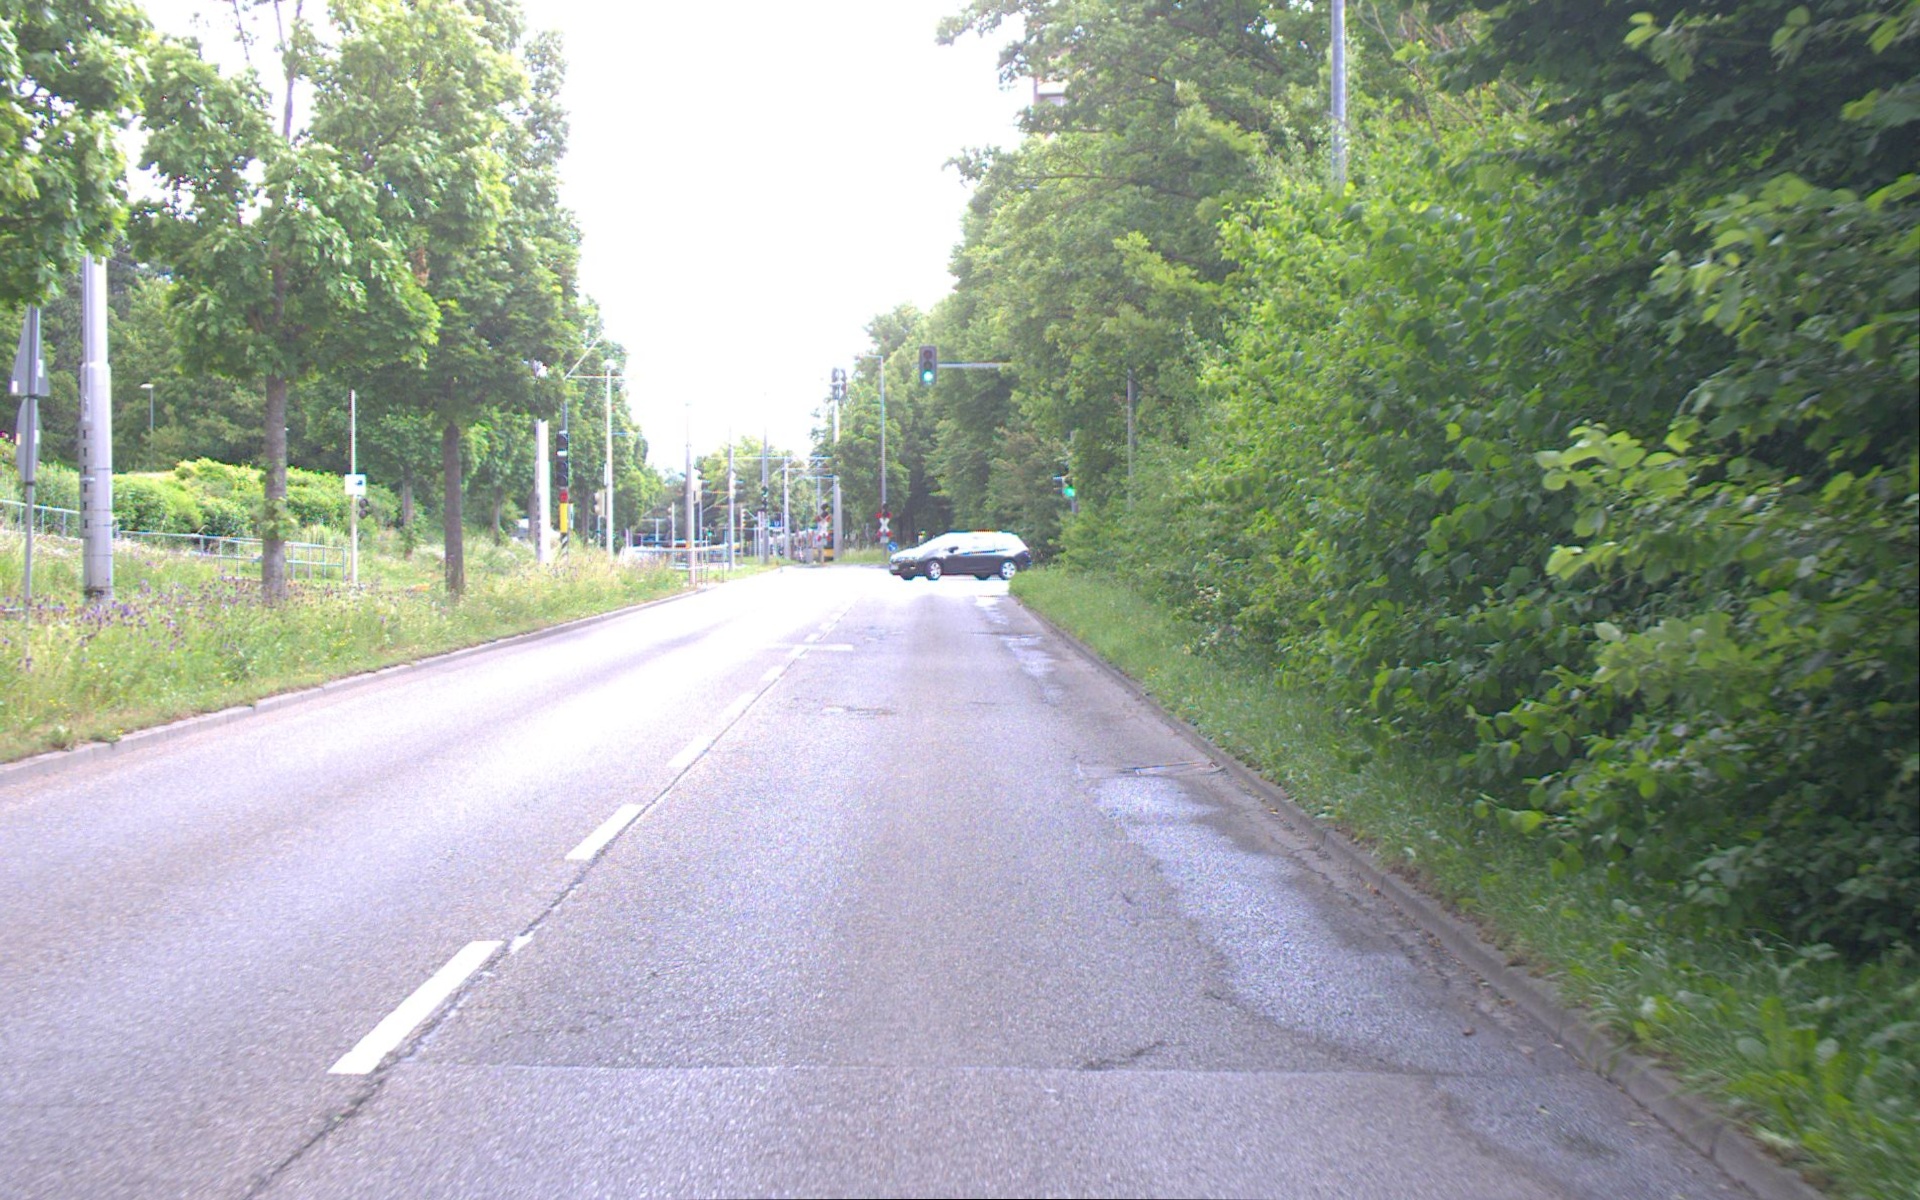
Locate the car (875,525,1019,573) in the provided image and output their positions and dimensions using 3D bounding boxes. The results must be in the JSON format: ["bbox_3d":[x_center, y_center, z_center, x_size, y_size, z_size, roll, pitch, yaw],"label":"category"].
[{"bbox_3d":[-0.395,-1.591,107.428,4.243,1.465,1.856,0,2,-38],"label":"car"}]
